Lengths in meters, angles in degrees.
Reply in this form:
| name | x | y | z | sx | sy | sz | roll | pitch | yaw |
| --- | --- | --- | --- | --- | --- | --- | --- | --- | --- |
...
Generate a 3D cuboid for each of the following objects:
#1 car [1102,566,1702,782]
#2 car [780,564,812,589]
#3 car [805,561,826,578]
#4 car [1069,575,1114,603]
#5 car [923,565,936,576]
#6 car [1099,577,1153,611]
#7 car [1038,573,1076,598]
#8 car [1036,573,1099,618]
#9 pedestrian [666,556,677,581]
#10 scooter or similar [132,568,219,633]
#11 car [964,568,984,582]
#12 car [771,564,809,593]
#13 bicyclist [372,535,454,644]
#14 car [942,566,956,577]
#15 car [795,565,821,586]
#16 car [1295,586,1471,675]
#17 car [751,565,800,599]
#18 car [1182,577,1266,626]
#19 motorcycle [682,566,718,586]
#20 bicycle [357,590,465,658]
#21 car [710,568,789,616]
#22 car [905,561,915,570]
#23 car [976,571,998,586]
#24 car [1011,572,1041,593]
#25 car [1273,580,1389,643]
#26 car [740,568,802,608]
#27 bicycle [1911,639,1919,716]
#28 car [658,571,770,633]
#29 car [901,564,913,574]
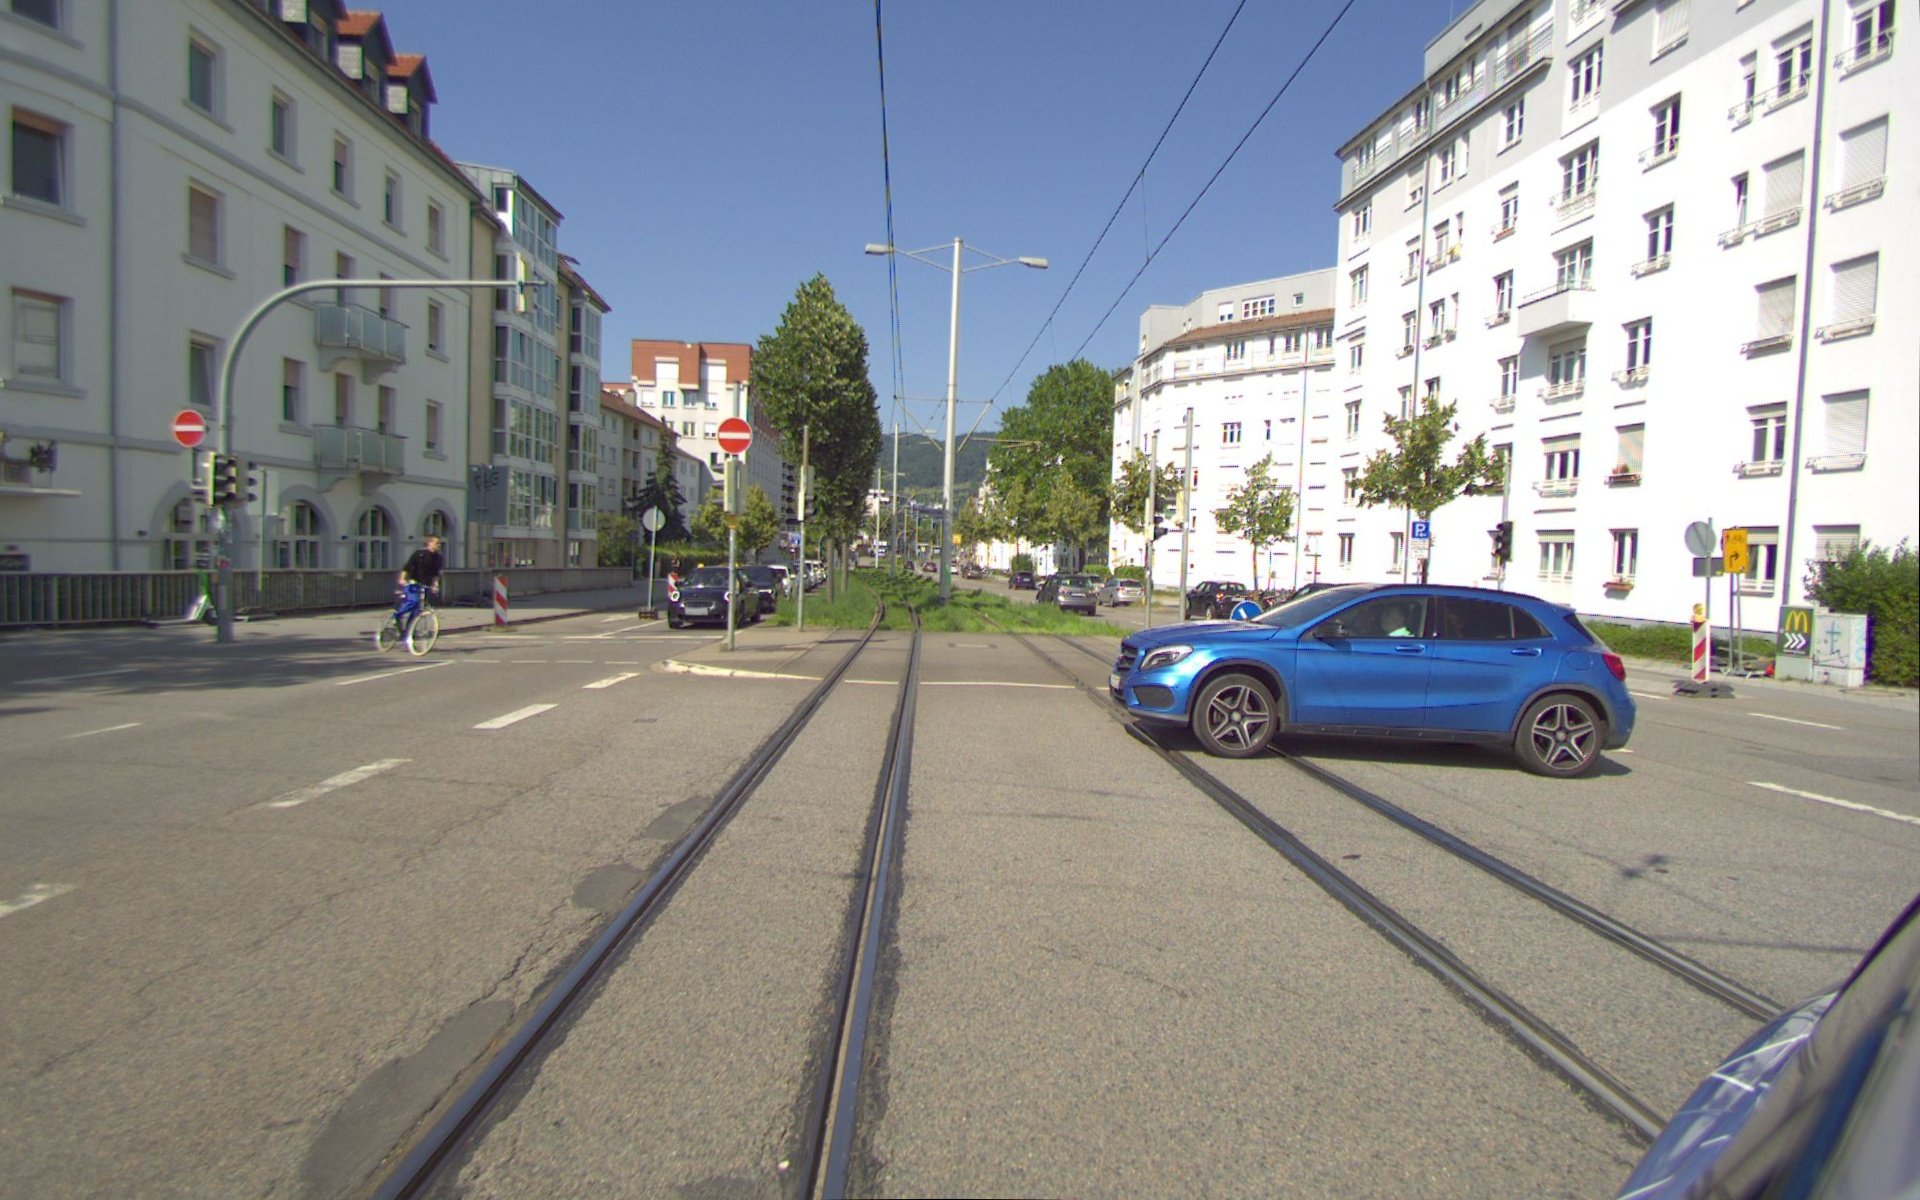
| name | x | y | z | sx | sy | sz | roll | pitch | yaw |
| --- | --- | --- | --- | --- | --- | --- | --- | --- | --- |
| car | 3.638 | 0.574 | 8.934 | 4.466 | 1.499 | 1.676 | 3 | 1 | 1 |
| car | -9.478 | -1.373 | 58.506 | 1.732 | 1.371 | 4.007 | 1 | 2 | -9 |
| car | -12.283 | -2.605 | 85.886 | 1.732 | 1.371 | 4.007 | 1 | 2 | -9 |
| car | 7.570 | -0.664 | 58.569 | 1.705 | 1.503 | 3.746 | 1 | 2 | -6 |
| car | -4.490 | -4.358 | 147.712 | 1.763 | 1.503 | 3.744 | 1 | 2 | -4 |
| car | 8.236 | -0.329 | 50.628 | 1.705 | 1.503 | 3.746 | 1 | 2 | -6 |
| car | 6.403 | -0.986 | 67.163 | 1.705 | 1.503 | 3.746 | 1 | 2 | -6 |
| car | 4.199 | -0.212 | 39.948 | 1.663 | 1.575 | 3.662 | 2 | 2 | -7 |
| pedestrian | -20.402 | -2.218 | 71.475 | 0.587 | 1.785 | 0.753 | 2 | 1 | -8 |
| scooter or similar | -14.325 | -0.011 | 18.505 | 0.334 | 1.131 | 1.298 | 2 | 2 | 17 |
| car | 1.517 | -2.763 | 110.481 | 1.705 | 1.503 | 3.746 | 1 | 2 | -6 |
| car | -8.605 | -1.117 | 51.457 | 1.732 | 1.371 | 4.006 | 1 | 2 | -7 |
| bicyclist | -8.742 | -0.160 | 16.176 | 1.003 | 1.675 | 0.798 | 0 | -1 | 36 |
| car | -1.530 | -3.888 | 138.281 | 1.706 | 1.503 | 3.744 | 1 | 2 | -4 |
| car | -10.690 | -1.733 | 71.146 | 1.732 | 1.371 | 4.007 | 1 | 2 | -9 |
| car | 8.625 | 0.556 | 20.990 | 1.561 | 1.511 | 3.670 | 3 | 2 | -10 |
| car | -7.969 | -0.824 | 43.989 | 1.733 | 1.371 | 4.005 | 1 | 2 | -5 |
| car | 9.849 | 0.019 | 38.010 | 1.705 | 1.657 | 3.747 | 1 | 2 | -8 |
| motorcycle | -16.629 | -1.556 | 64.743 | 2.138 | 1.180 | 0.744 | 2 | 1 | 1 |
| bicycle | -8.819 | 0.353 | 16.234 | 1.901 | 1.033 | 0.811 | 1 | 0 | 36 |
| car | -6.499 | -0.301 | 31.612 | 1.734 | 1.371 | 4.003 | 1 | 2 | -2 |
| car | -9.800 | -6.791 | 198.796 | 1.763 | 1.703 | 3.744 | 1 | 2 | -4 |
| car | 2.739 | -2.193 | 102.462 | 1.705 | 1.503 | 3.746 | 1 | 2 | -6 |
| car | 5.096 | -1.381 | 78.763 | 1.705 | 1.503 | 3.746 | 1 | 2 | -6 |
| car | 10.881 | 0.295 | 29.989 | 1.705 | 1.657 | 3.746 | 1 | 2 | -6 |
| car | -6.969 | -0.475 | 37.582 | 1.733 | 1.371 | 4.004 | 1 | 2 | -3 |
| bicycle | 14.651 | 1.195 | 14.211 | 0.605 | 1.112 | 1.791 | 1 | 3 | -16 |
| car | -5.848 | -0.023 | 24.467 | 1.734 | 1.337 | 4.001 | 1 | 2 | 0 |
| car | -8.347 | -4.830 | 158.949 | 1.763 | 1.503 | 3.744 | 1 | 2 | -4 |
